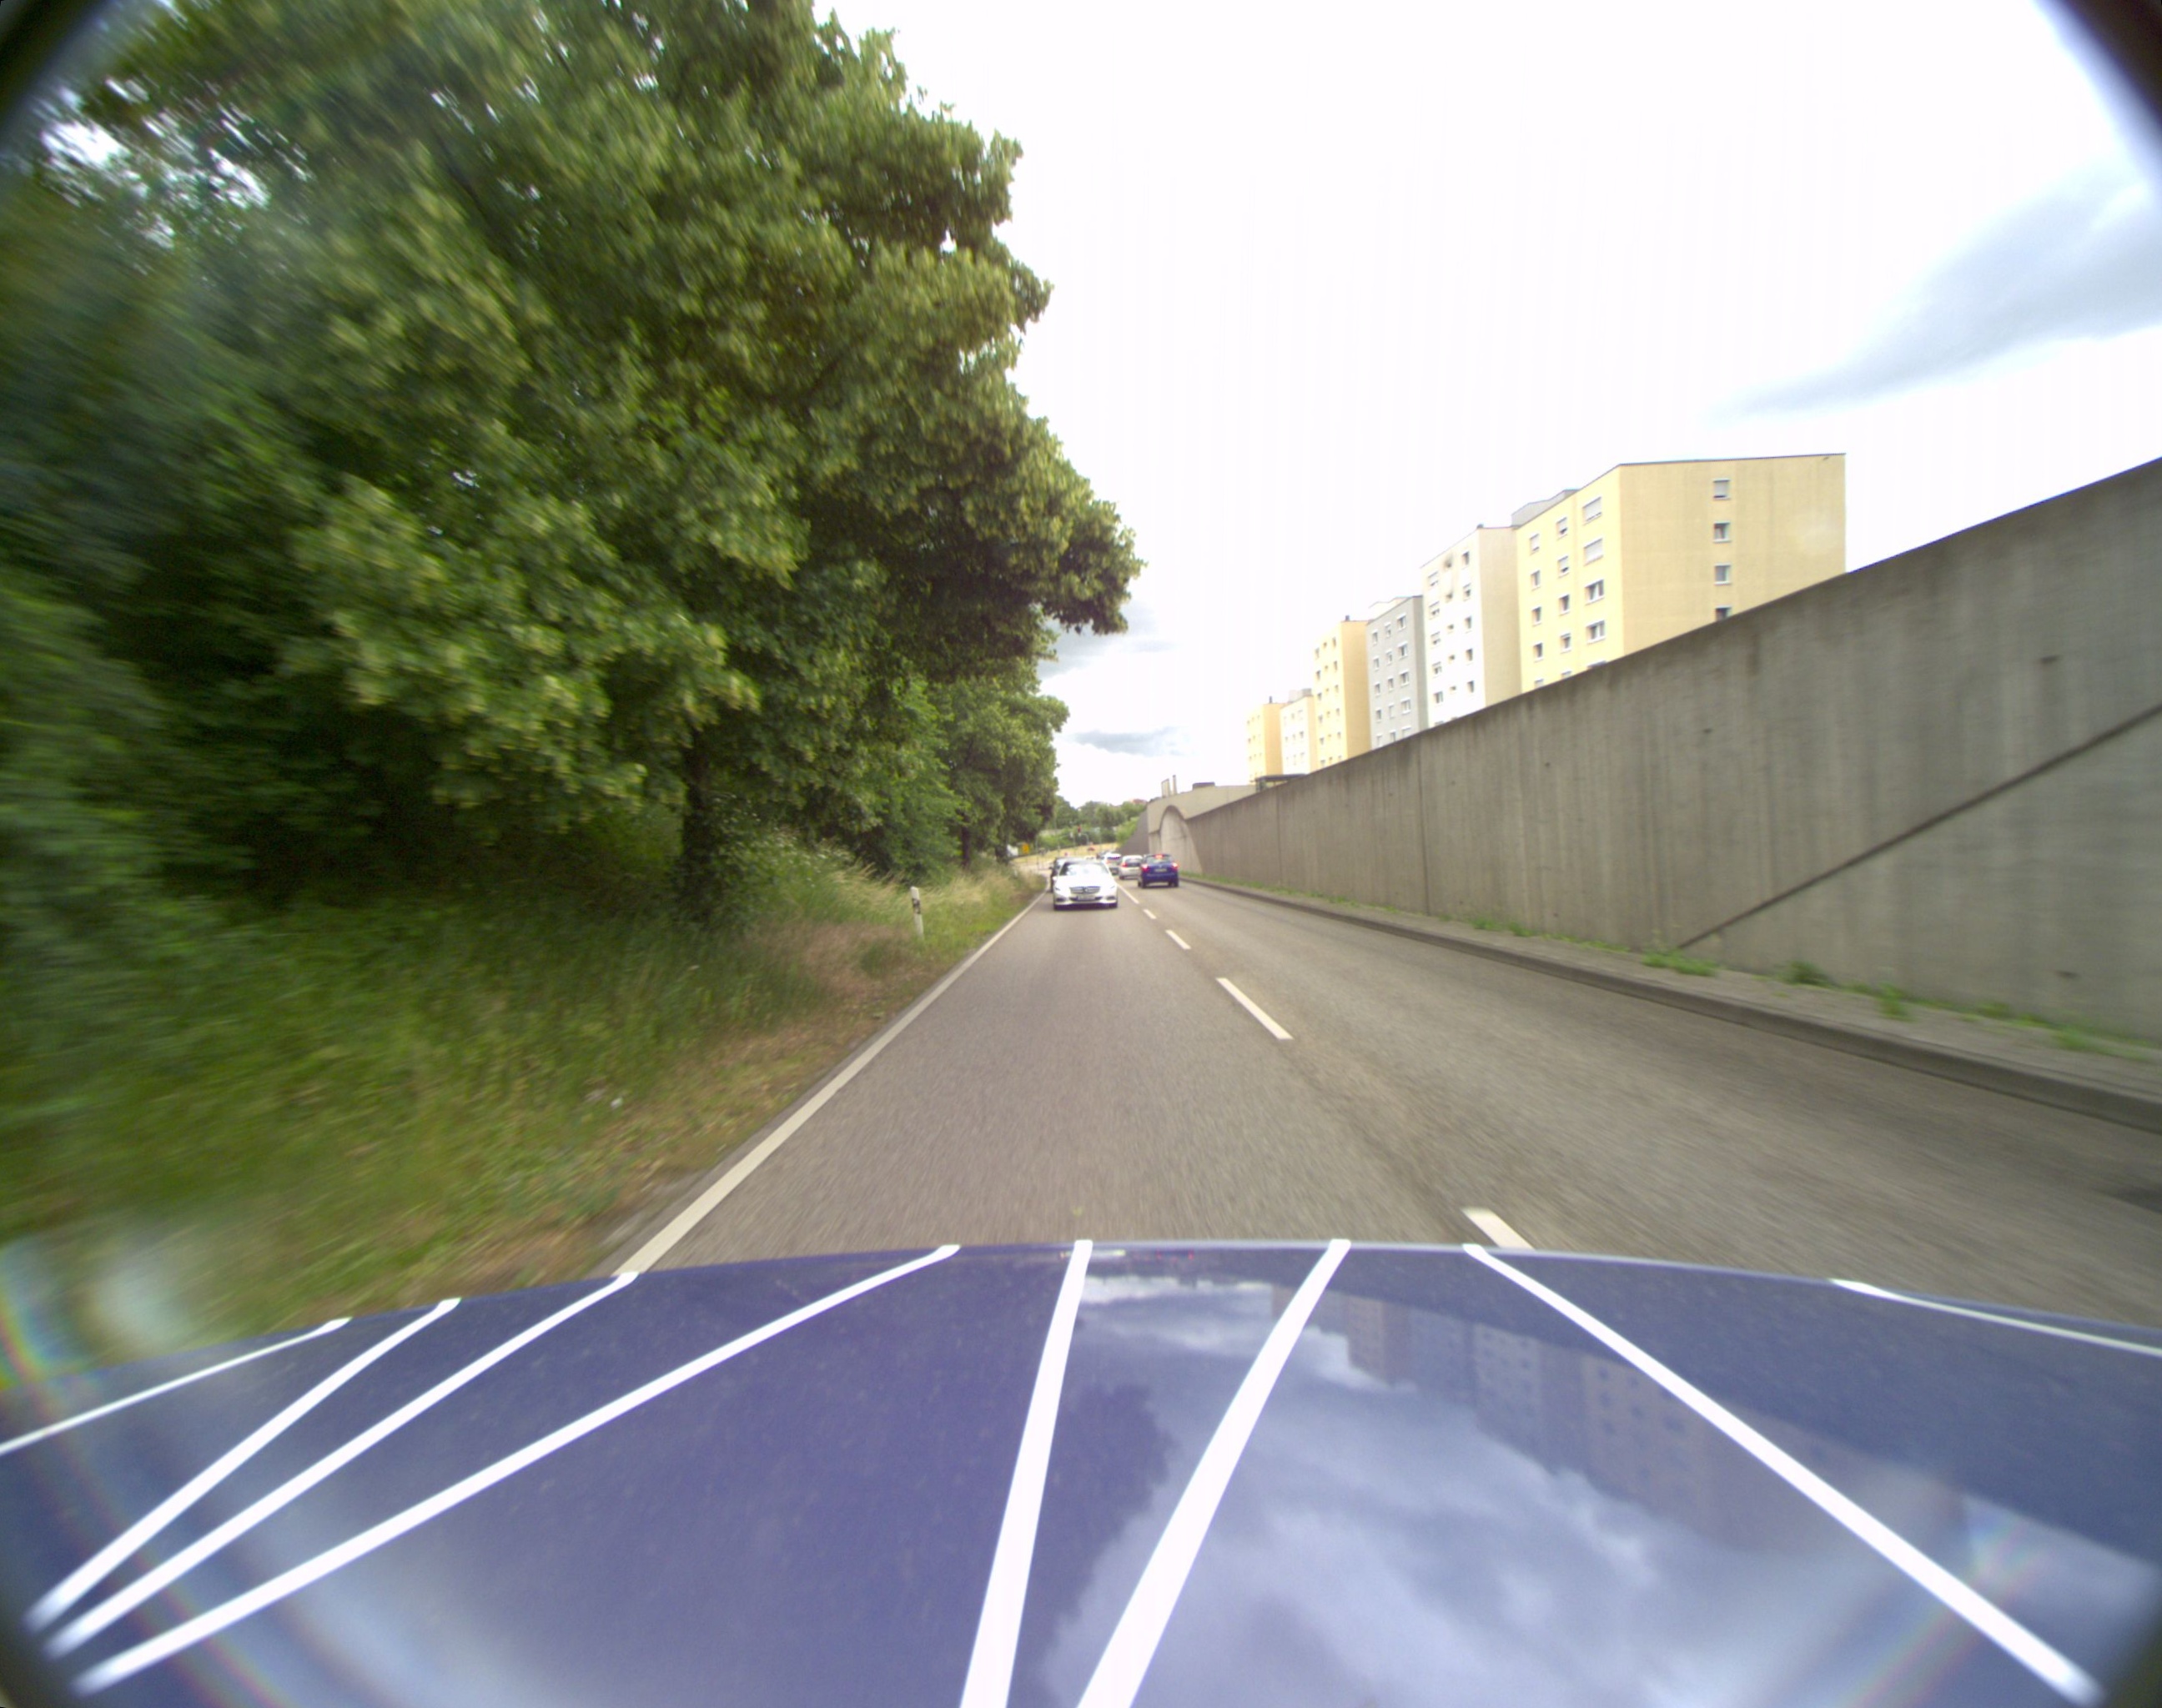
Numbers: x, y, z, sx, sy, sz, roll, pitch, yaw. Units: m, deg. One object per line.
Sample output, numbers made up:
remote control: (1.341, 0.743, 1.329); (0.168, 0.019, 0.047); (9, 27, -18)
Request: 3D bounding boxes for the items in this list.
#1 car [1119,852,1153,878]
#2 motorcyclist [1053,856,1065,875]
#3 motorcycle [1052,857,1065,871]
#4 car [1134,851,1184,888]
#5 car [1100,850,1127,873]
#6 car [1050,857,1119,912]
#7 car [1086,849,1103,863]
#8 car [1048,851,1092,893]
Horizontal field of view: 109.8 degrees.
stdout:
car: (3.507, 0.662, 49.222); (1.920, 1.487, 4.208); (-3, 0, 2)
motorcyclist: (-1.941, 0.996, 66.742); (0.883, 1.596, 1.243); (-6, 2, -5)
motorcycle: (-1.973, 0.899, 66.903); (0.883, 1.098, 2.359); (-6, 1, -5)
car: (3.518, 0.661, 34.915); (1.772, 1.487, 4.208); (-3, 0, 0)
car: (2.570, 0.582, 60.806); (1.895, 1.623, 4.424); (-3, 2, 0)
car: (0.102, 0.865, 23.556); (1.905, 1.471, 4.094); (-2, 0, 0)
car: (1.629, 0.262, 94.354); (1.867, 1.622, 4.207); (-3, 0, -2)
car: (-0.547, 0.756, 34.476); (1.759, 1.532, 3.998); (-6, 2, -2)
